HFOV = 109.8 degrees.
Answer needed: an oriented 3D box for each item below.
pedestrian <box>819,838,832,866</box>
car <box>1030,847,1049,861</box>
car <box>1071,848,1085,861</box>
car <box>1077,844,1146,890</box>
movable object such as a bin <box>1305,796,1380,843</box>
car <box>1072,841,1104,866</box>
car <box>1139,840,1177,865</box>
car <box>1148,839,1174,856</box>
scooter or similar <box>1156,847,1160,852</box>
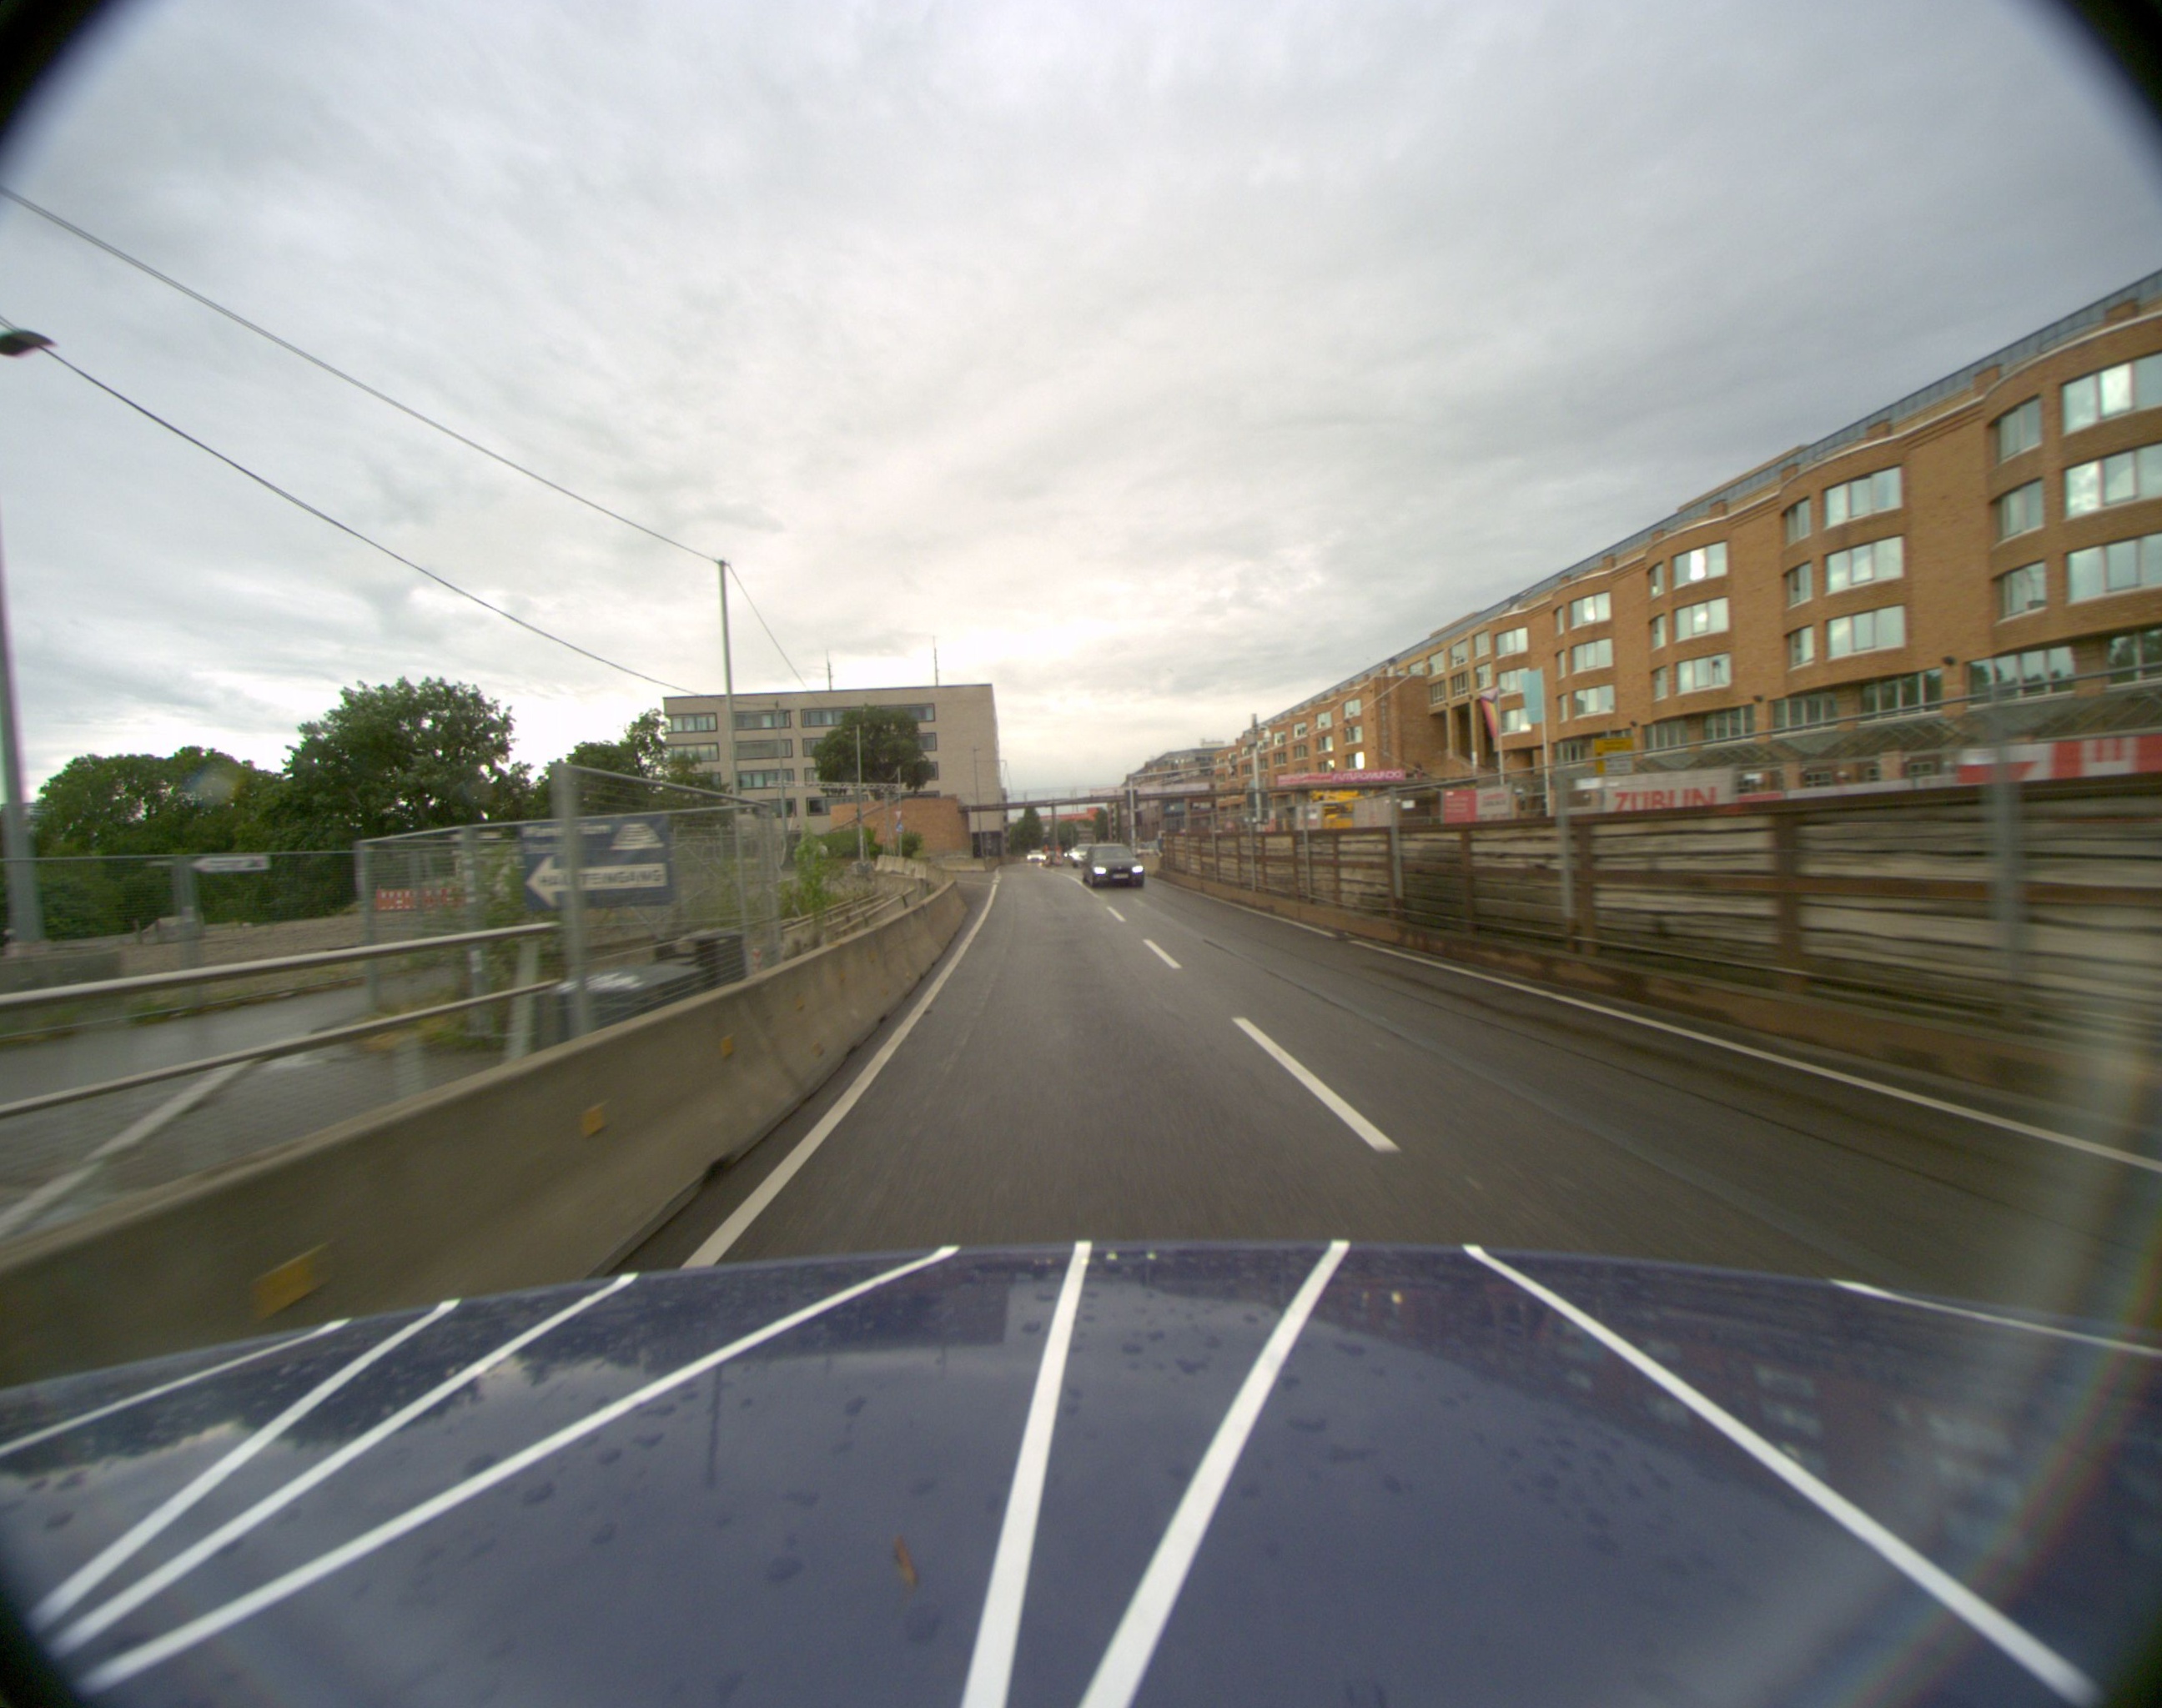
[{"bbox_3d":[-16.343,-0.148,48.540,0.692,1.768,0.814,-3,2,-22],"label":"pedestrian"},{"bbox_3d":[-4.832,-0.011,88.827,1.772,1.524,4.656,-3,0,2],"label":"car"},{"bbox_3d":[-0.381,0.063,101.429,1.772,1.524,4.655,-3,0,-1],"label":"car"},{"bbox_3d":[0.977,0.430,27.255,1.773,1.435,4.654,-3,0,-6],"label":"car"},{"bbox_3d":[13.721,-1.756,40.155,2.033,2.264,4.290,1,0,-7],"label":"movable object such as a bin"},{"bbox_3d":[0.441,-0.018,52.494,1.773,1.524,4.654,-3,0,-4],"label":"car"},{"bbox_3d":[5.162,-0.090,51.295,1.773,1.524,4.354,-3,0,-4],"label":"car"},{"bbox_3d":[8.065,-0.647,76.787,1.752,1.540,4.521,-2,0,-5],"label":"car"},{"bbox_3d":[16.509,-0.879,162.880,0.450,1.056,1.043,-3,0,-15],"label":"scooter or similar"}]
